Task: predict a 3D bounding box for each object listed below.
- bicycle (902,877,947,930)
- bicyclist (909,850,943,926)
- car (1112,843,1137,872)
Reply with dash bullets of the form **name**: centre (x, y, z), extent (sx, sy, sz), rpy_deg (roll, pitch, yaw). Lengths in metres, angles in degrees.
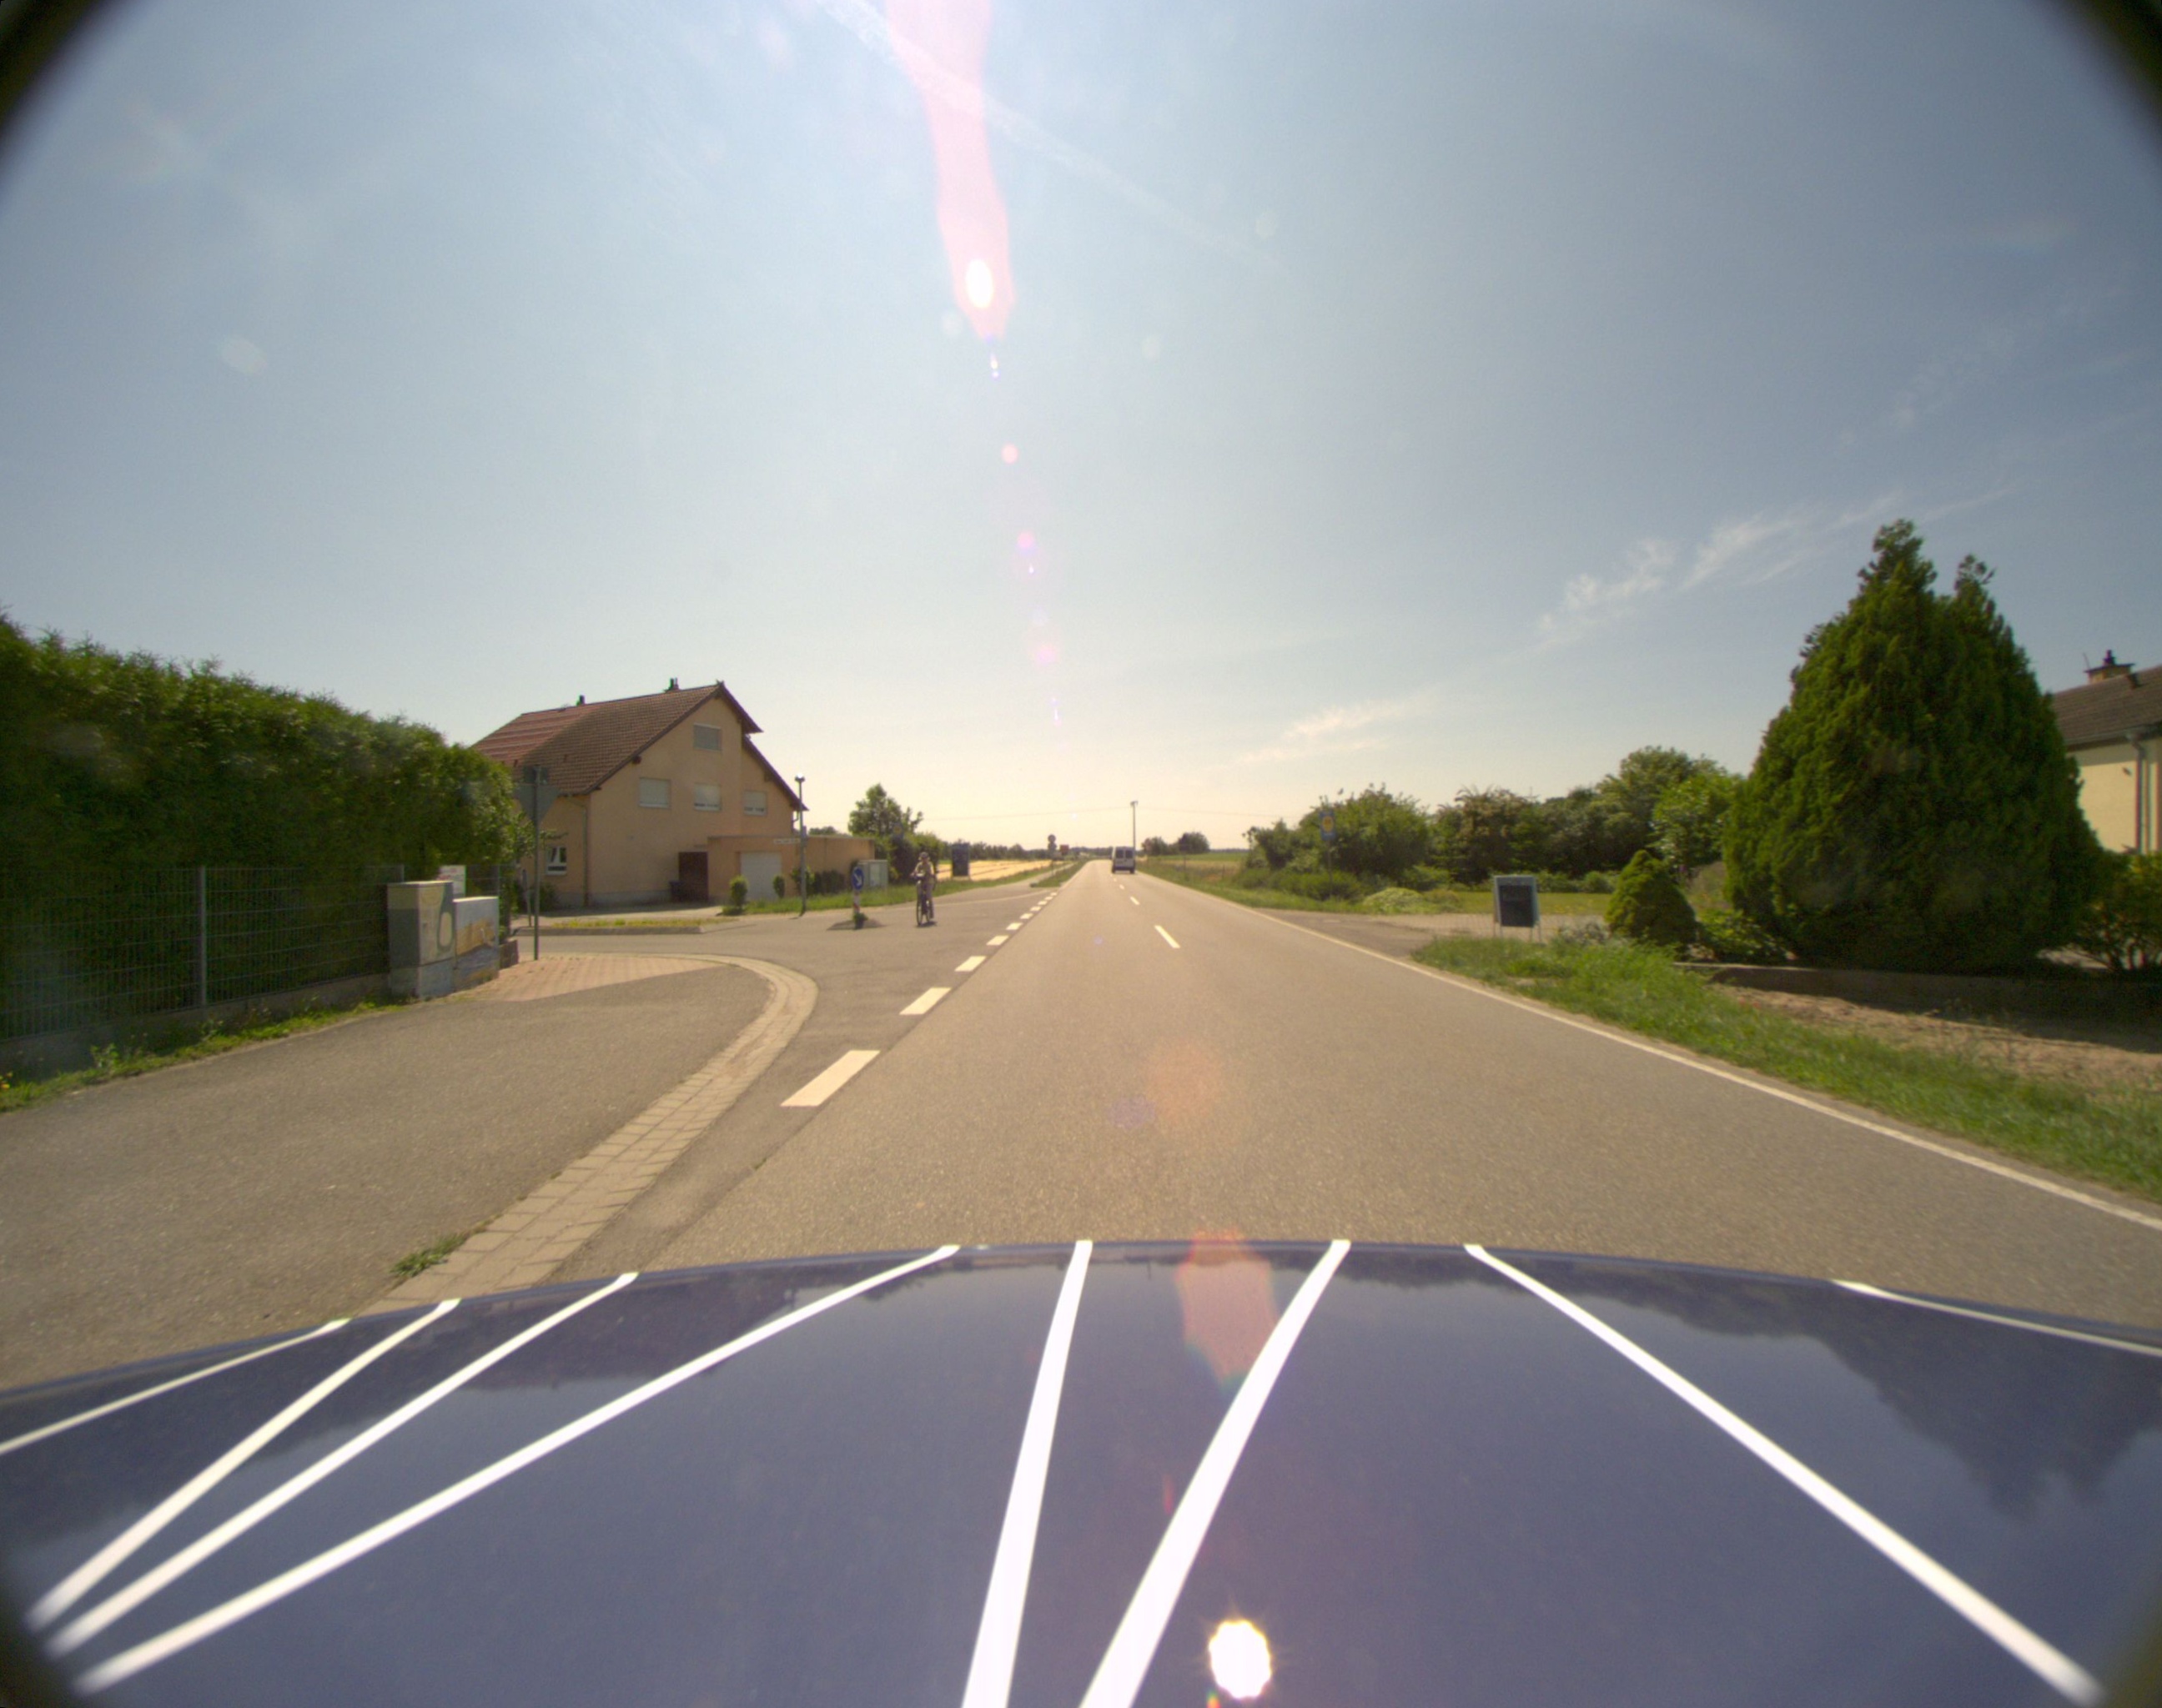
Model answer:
- **bicycle**: centre (-3.917, 1.214, 19.181), extent (0.612, 1.152, 2.274), rpy_deg (-1, 1, 1)
- **bicyclist**: centre (-3.918, 0.846, 19.257), extent (0.646, 1.879, 0.860), rpy_deg (0, 1, 1)
- **car**: centre (3.946, 0.322, 70.124), extent (2.082, 2.527, 5.873), rpy_deg (1, 0, 1)
